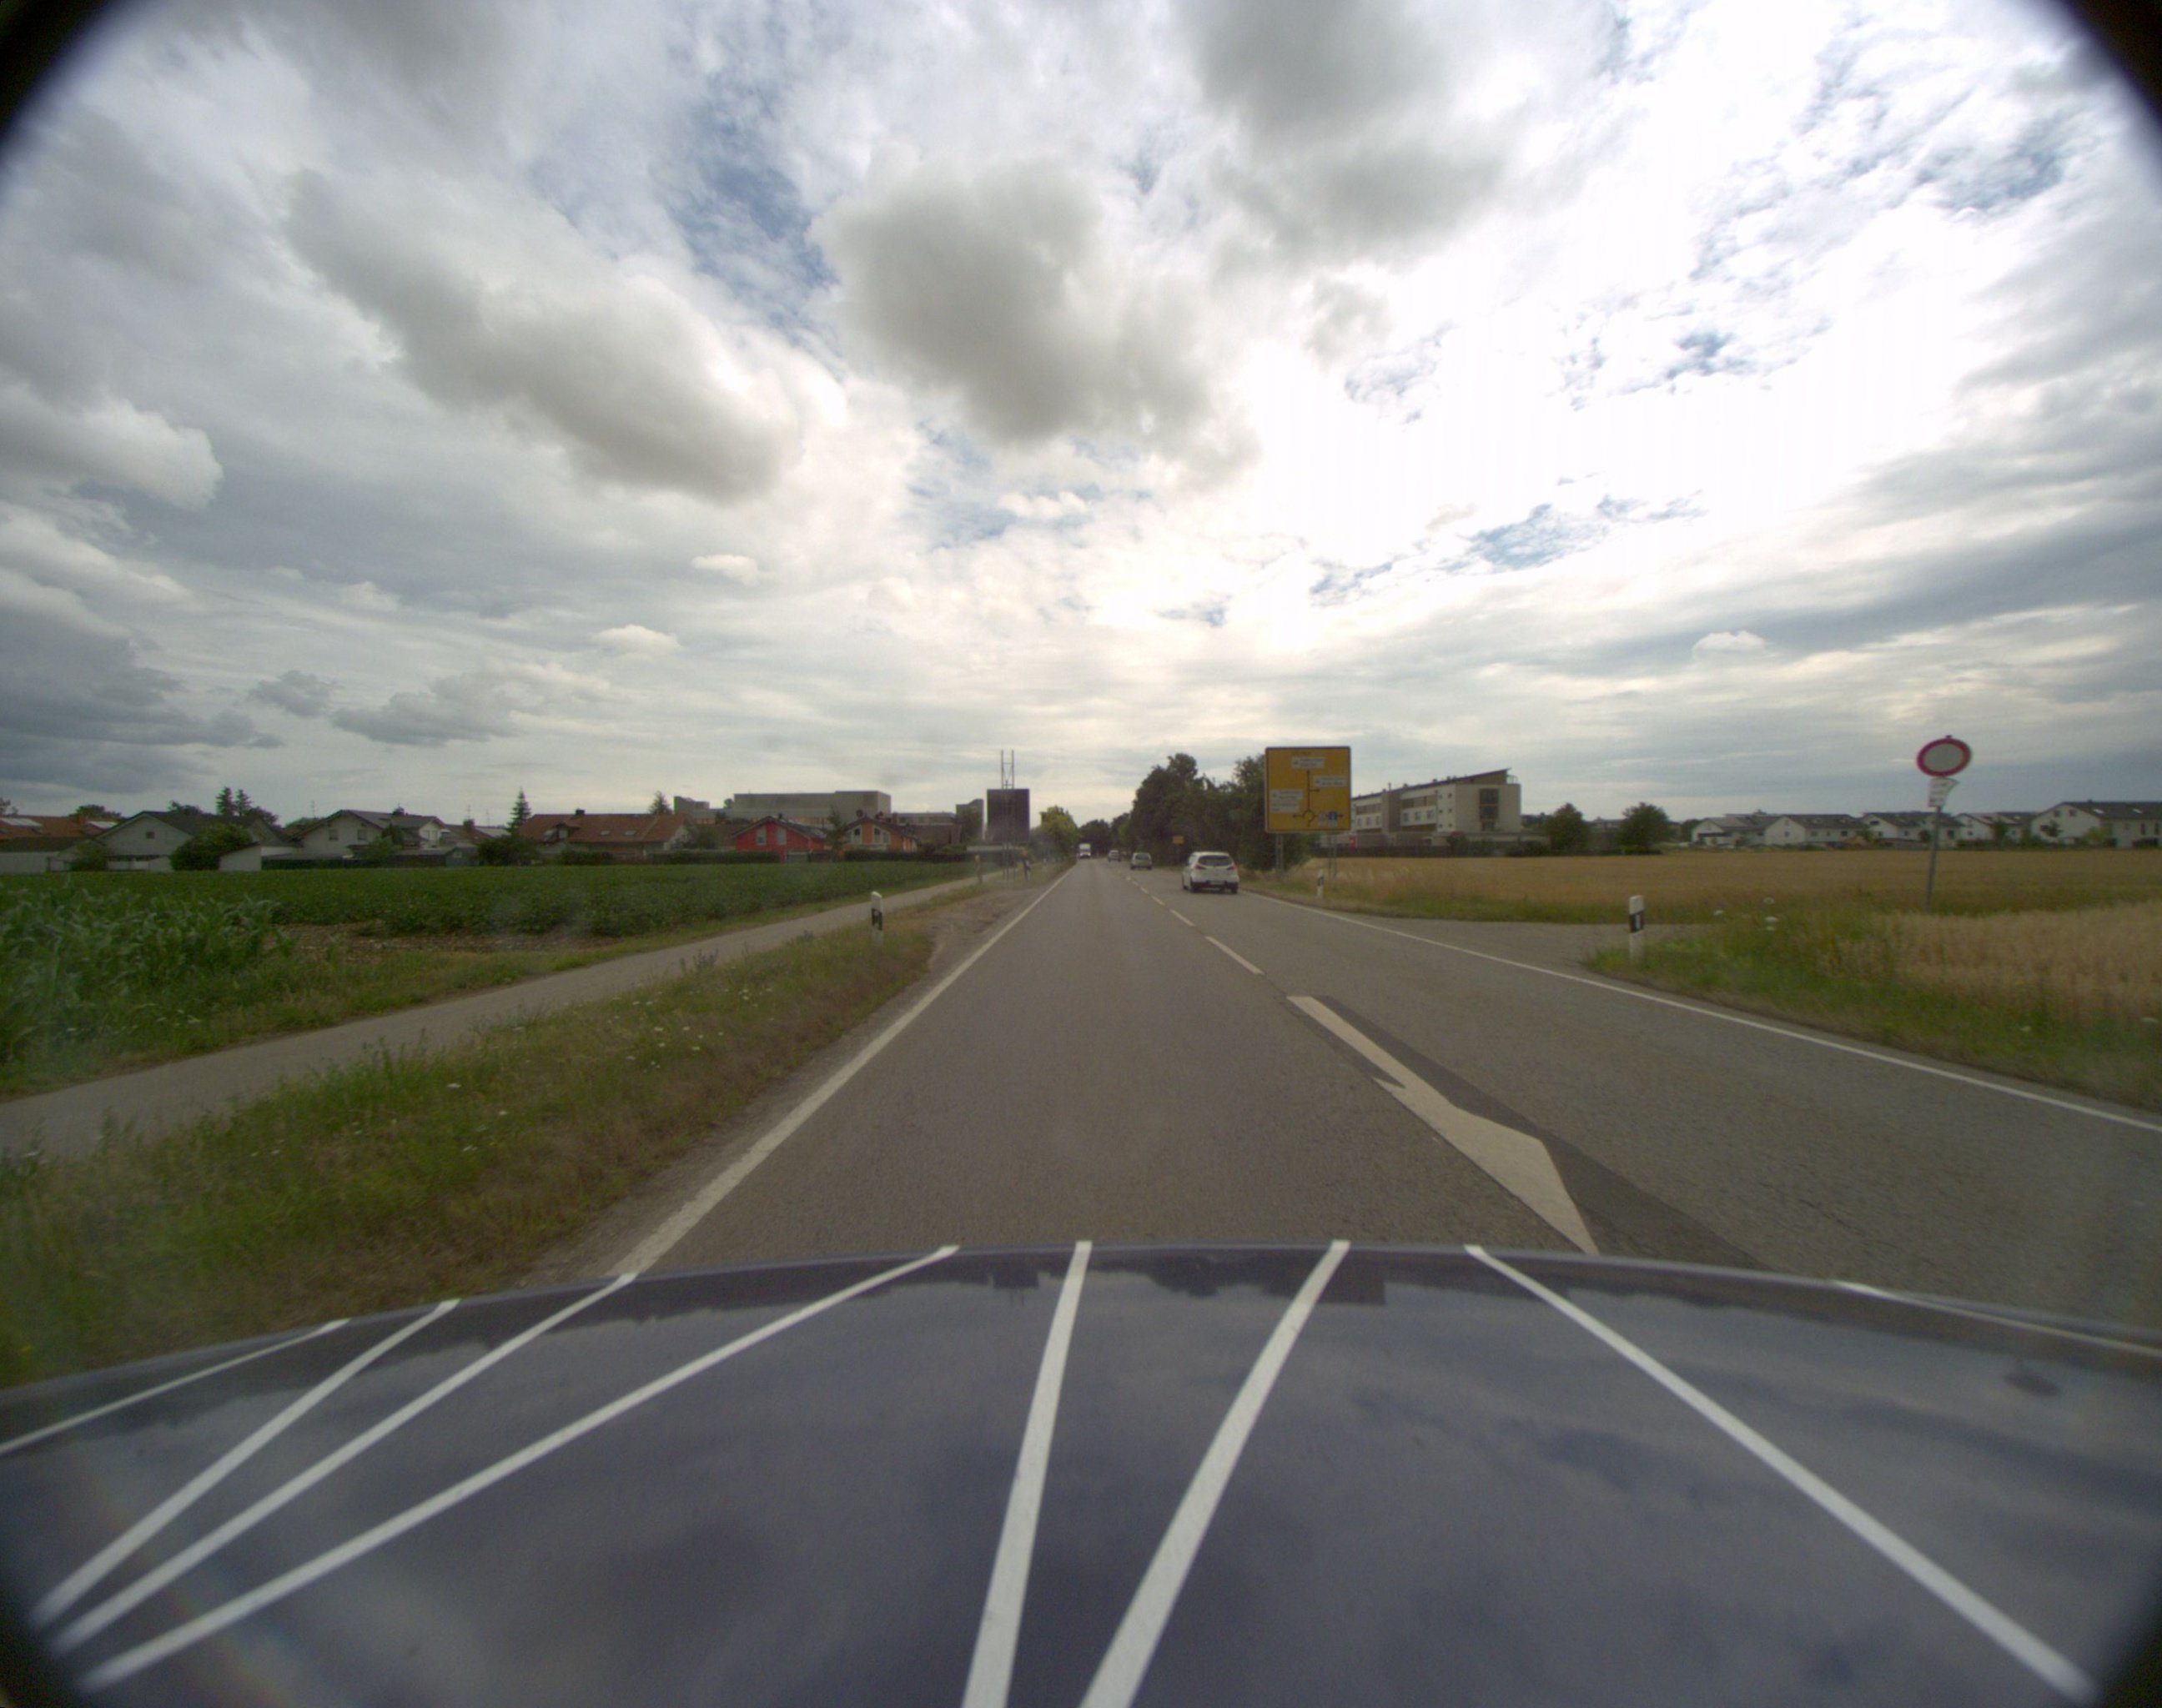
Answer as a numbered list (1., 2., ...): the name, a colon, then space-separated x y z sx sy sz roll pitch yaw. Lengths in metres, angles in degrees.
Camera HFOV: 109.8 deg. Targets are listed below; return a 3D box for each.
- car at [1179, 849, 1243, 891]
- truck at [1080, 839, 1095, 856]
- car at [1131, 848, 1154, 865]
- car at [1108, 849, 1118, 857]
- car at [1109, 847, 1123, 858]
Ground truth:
1. car: 4.871 0.545 29.025 1.810 1.448 4.113 0 1 1
2. truck: 1.482 -1.398 164.402 2.613 3.428 7.508 -2 1 4
3. car: 5.143 0.179 63.988 1.733 1.355 3.949 0 1 1
4. car: 7.013 -0.287 166.141 1.945 1.577 4.554 1 1 -1
5. car: 5.437 -0.225 119.406 1.998 1.674 4.809 1 1 1
